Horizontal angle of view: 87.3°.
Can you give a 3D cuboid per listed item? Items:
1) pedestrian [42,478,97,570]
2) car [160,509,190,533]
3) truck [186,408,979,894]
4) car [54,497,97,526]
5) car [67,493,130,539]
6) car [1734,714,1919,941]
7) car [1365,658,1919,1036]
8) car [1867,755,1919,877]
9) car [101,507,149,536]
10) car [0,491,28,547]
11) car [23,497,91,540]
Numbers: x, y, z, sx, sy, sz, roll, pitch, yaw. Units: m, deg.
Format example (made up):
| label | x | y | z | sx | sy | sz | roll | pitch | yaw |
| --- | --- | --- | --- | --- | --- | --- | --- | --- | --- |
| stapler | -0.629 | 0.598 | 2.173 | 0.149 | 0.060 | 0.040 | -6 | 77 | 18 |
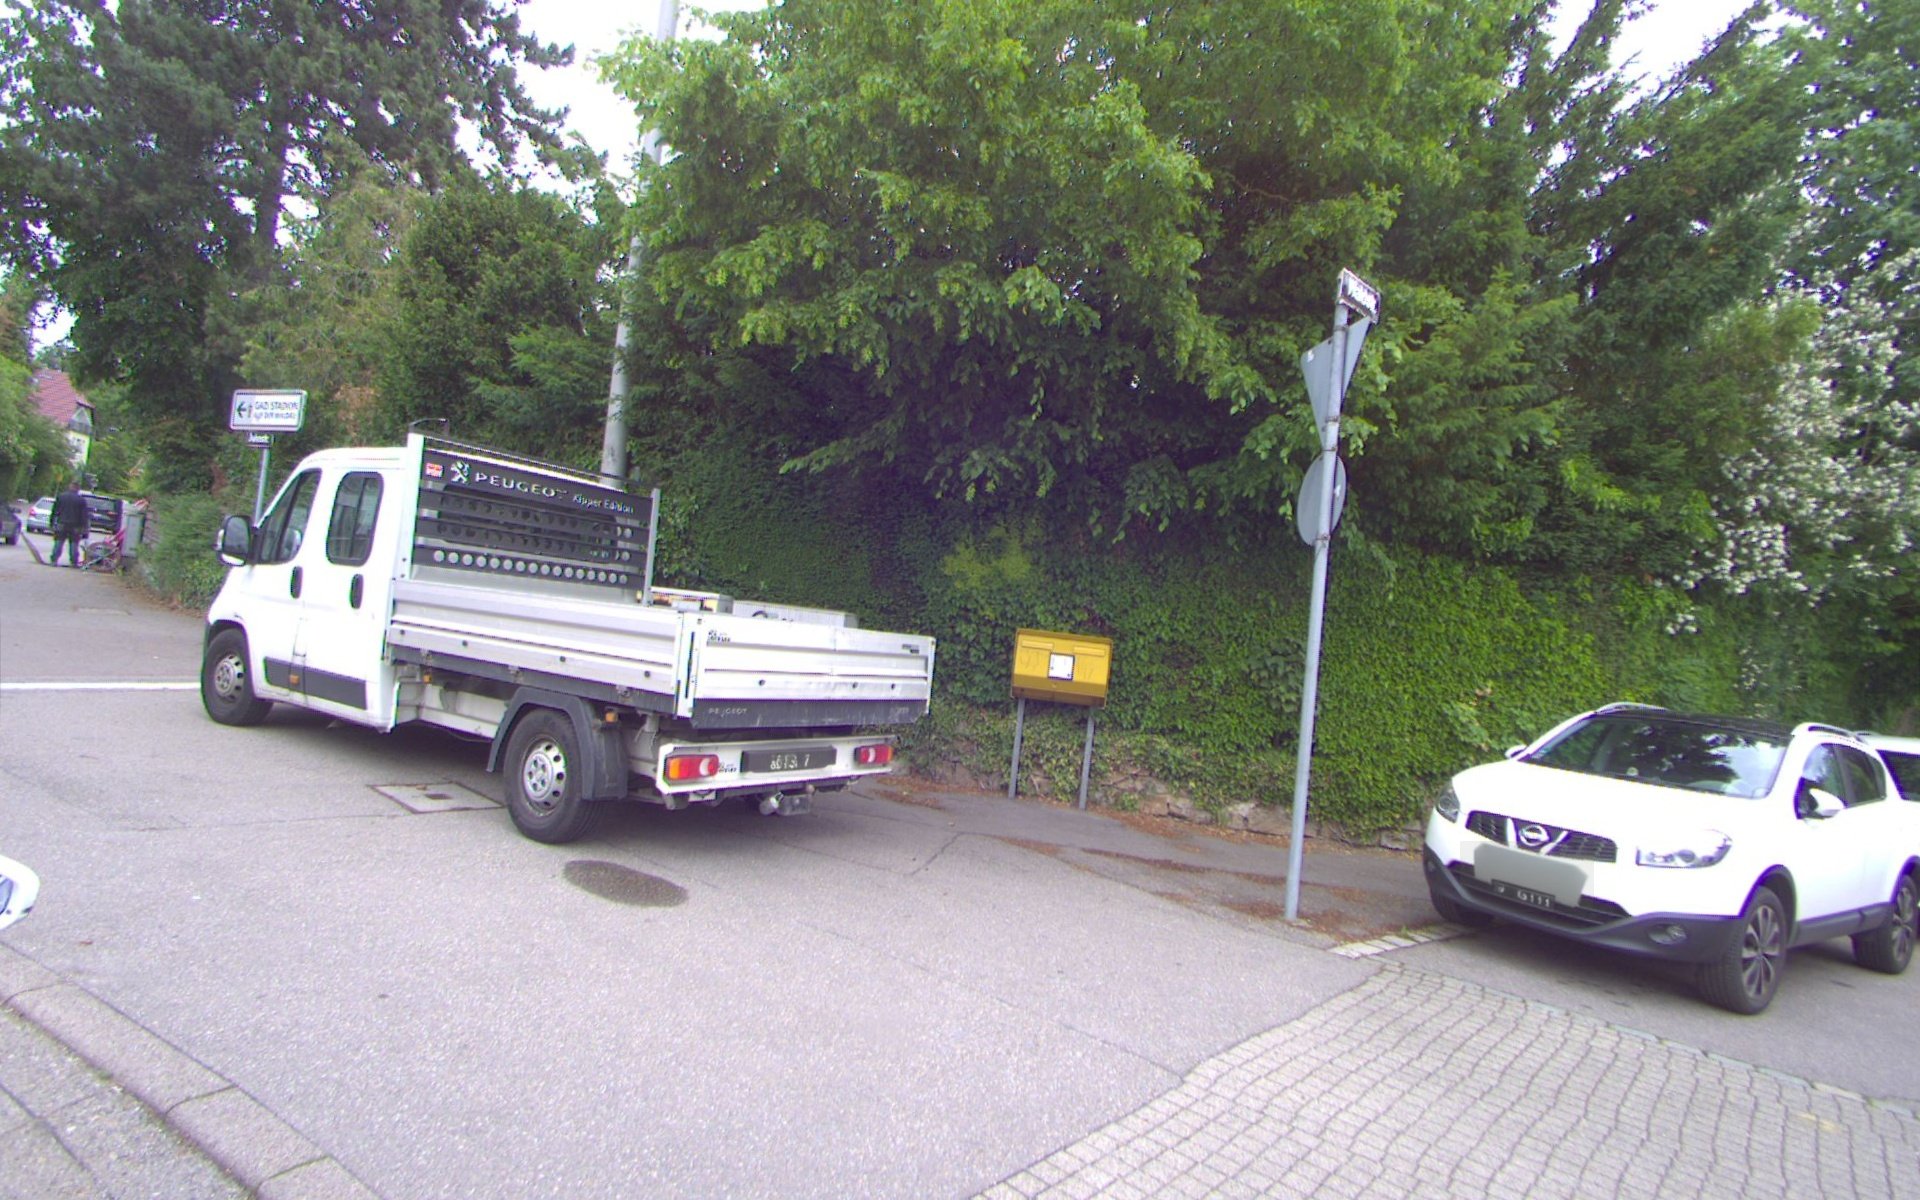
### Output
| label | x | y | z | sx | sy | sz | roll | pitch | yaw |
| --- | --- | --- | --- | --- | --- | --- | --- | --- | --- |
| pedestrian | -19.583 | -1.665 | 22.122 | 0.549 | 1.929 | 0.597 | 7 | -1 | 32 |
| car | -75.470 | -7.579 | 96.759 | 1.930 | 1.846 | 4.039 | 10 | -2 | -35 |
| truck | -2.936 | 0.087 | 7.161 | 5.631 | 2.270 | 2.211 | 6 | -2 | 34 |
| car | -69.530 | -6.957 | 79.148 | 1.901 | 1.903 | 5.092 | 6 | -1 | -36 |
| car | -45.059 | -4.374 | 52.714 | 1.910 | 1.915 | 4.859 | 10 | -2 | -36 |
| car | 9.043 | 2.119 | 9.469 | 4.041 | 1.641 | 1.781 | 9 | -3 | -38 |
| car | 4.764 | 1.473 | 6.657 | 4.098 | 1.641 | 1.783 | 9 | -2 | -34 |
| car | 13.797 | 2.979 | 13.449 | 4.040 | 1.440 | 1.781 | 8 | -2 | -38 |
| car | -54.230 | -5.081 | 65.394 | 1.832 | 1.476 | 4.040 | 10 | -2 | -34 |
| car | -28.065 | -2.404 | 28.390 | 1.789 | 1.545 | 4.698 | 7 | 0 | -35 |
| car | -36.604 | -3.301 | 40.860 | 1.686 | 1.448 | 3.709 | 7 | 0 | -38 |
